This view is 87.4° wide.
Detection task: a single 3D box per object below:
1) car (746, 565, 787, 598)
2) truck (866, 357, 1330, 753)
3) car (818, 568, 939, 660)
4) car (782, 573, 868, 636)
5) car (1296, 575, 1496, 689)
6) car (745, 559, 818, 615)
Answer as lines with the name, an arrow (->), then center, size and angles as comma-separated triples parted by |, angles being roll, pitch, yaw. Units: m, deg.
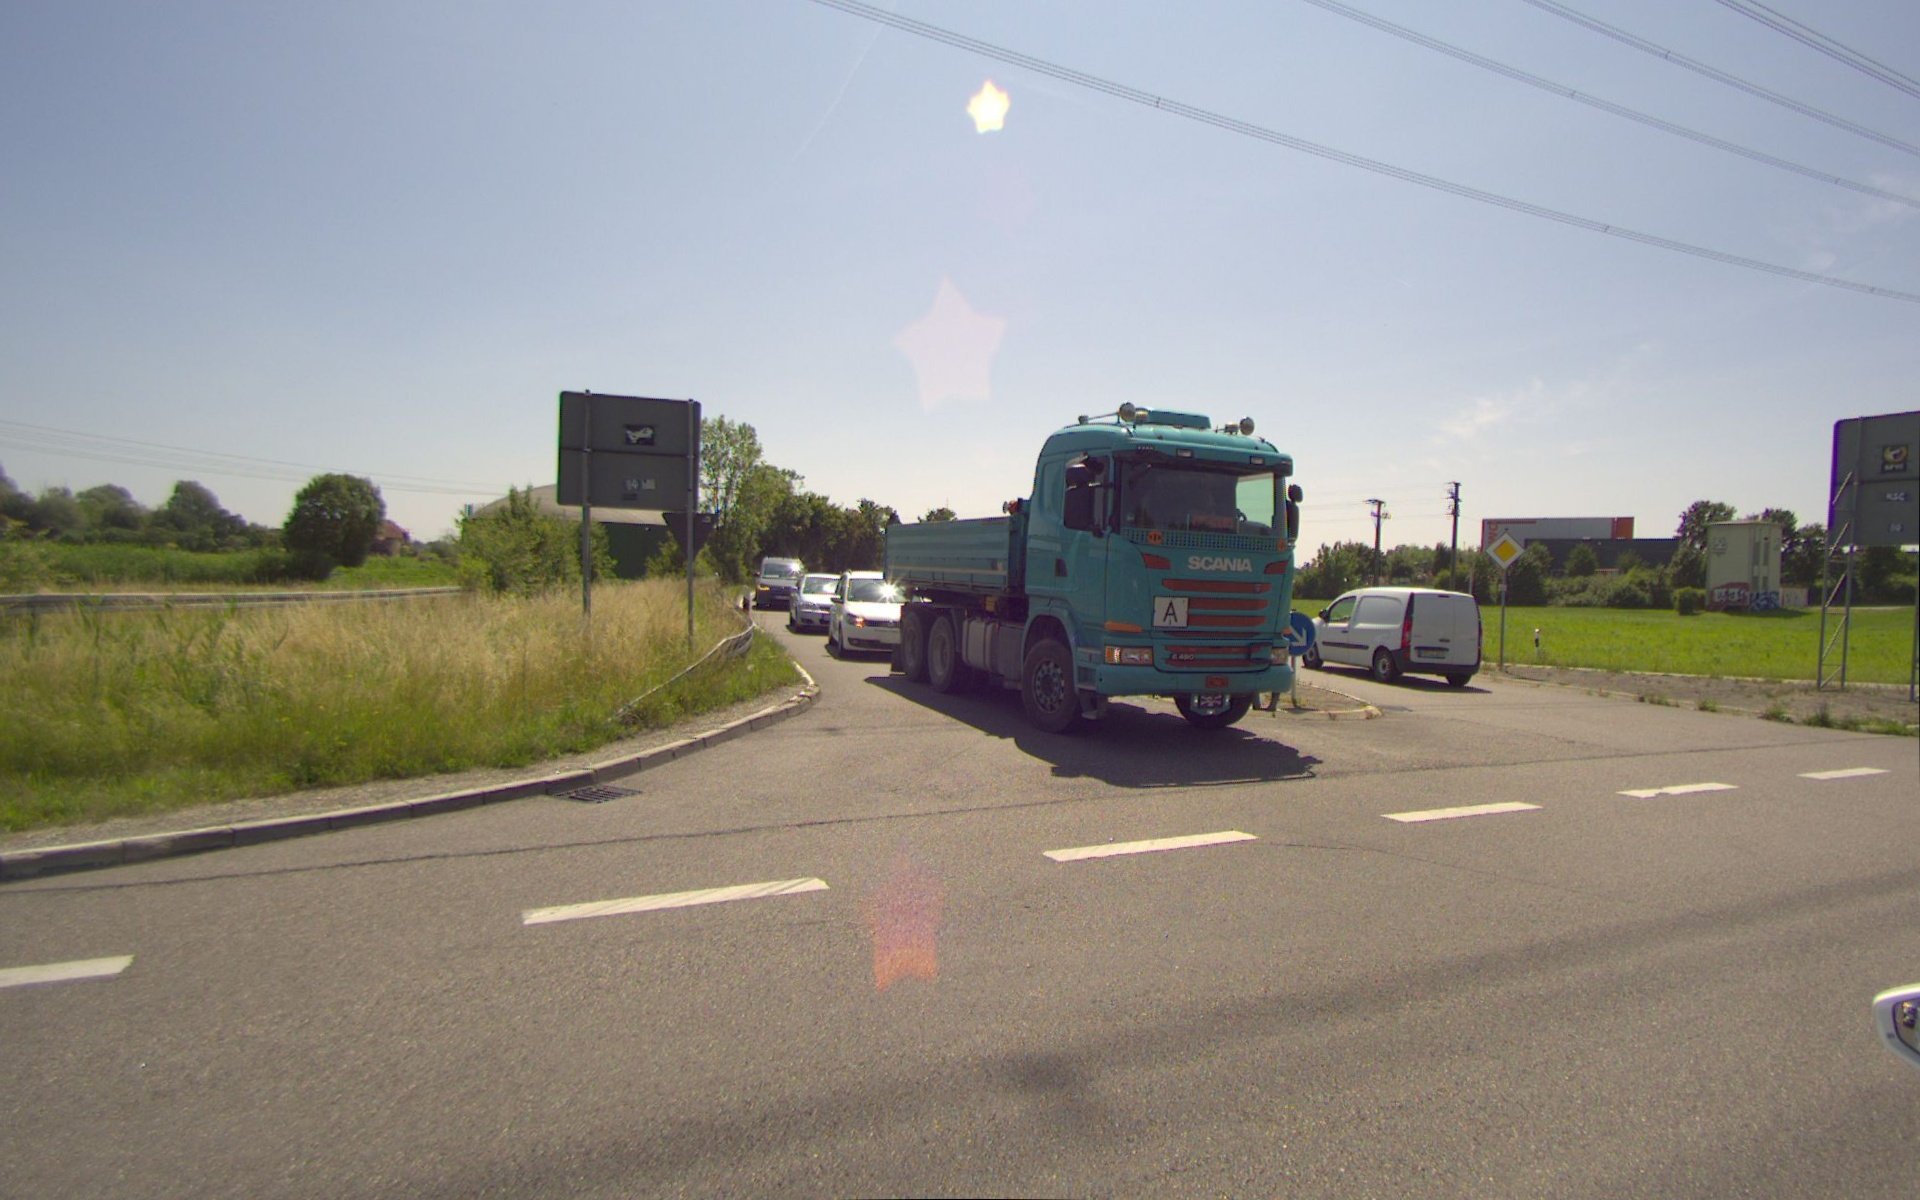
car -> -10.741, -1.010, 55.905 | 1.963, 1.691, 3.994 | 1, 0, -8
truck -> 1.148, -0.561, 13.738 | 2.463, 3.785, 7.884 | 1, 2, -23
car -> -1.792, 0.209, 20.528 | 1.933, 1.634, 4.545 | 1, 1, -11
car -> -3.643, 0.067, 26.454 | 1.689, 1.490, 4.432 | 1, 1, -15
car -> 8.548, 0.546, 20.127 | 1.799, 1.997, 3.994 | 2, 1, -7
car -> -6.638, -0.515, 36.889 | 2.055, 1.893, 4.933 | 0, 2, -17
